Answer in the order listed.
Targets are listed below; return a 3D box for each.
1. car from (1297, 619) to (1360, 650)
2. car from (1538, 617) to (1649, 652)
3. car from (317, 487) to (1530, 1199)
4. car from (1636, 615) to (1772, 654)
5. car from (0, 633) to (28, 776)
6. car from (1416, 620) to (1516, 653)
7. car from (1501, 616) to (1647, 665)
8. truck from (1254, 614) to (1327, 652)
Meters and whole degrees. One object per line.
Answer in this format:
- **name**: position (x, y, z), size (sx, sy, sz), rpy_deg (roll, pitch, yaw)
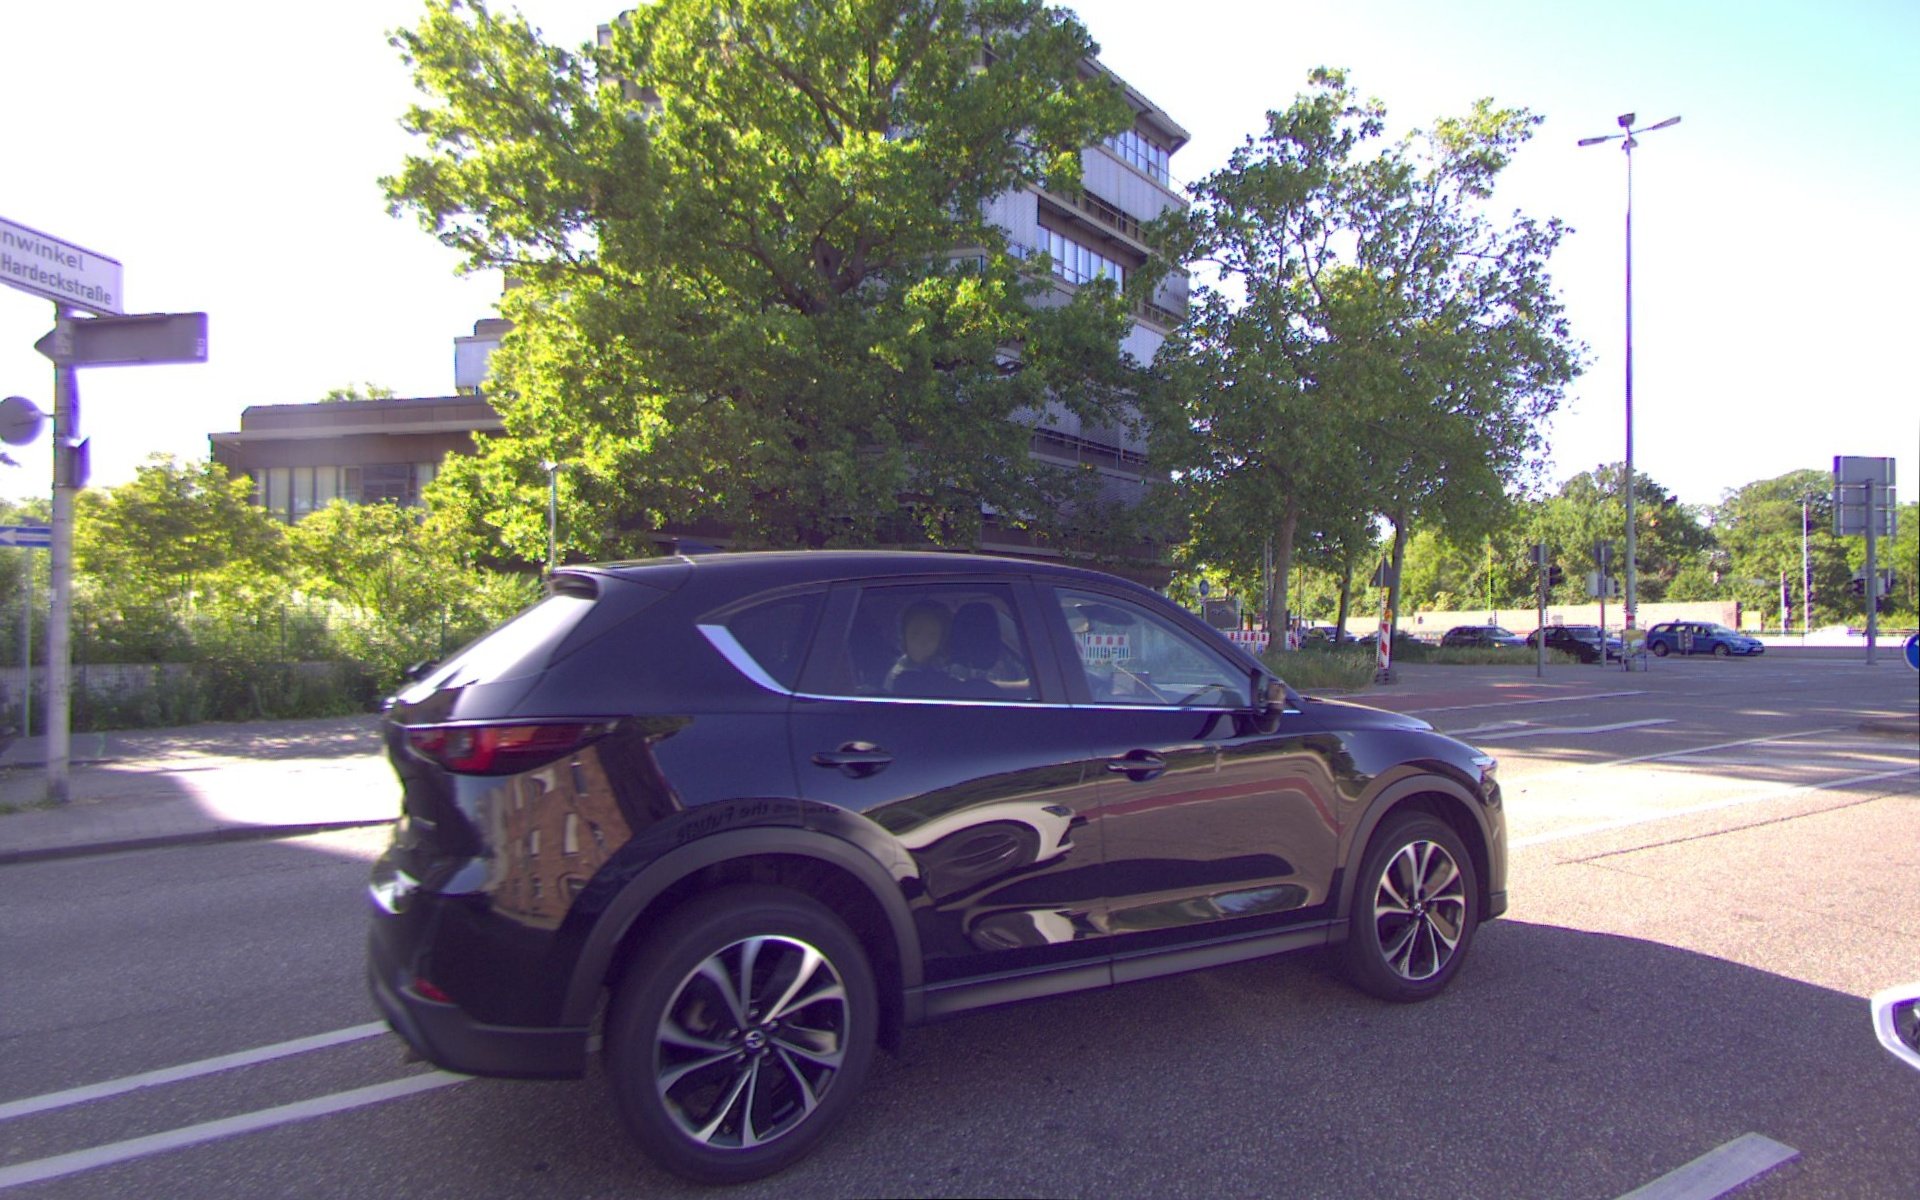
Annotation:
- **car**: position (20.982, 1.943, 57.412), size (1.844, 1.666, 4.508), rpy_deg (0, -1, -2)
- **car**: position (30.395, 1.629, 48.366), size (1.919, 1.561, 4.445), rpy_deg (0, -1, -14)
- **car**: position (0.060, 0.669, 3.875), size (4.146, 1.731, 1.866), rpy_deg (0, -1, -29)
- **car**: position (31.877, 1.457, 43.217), size (1.920, 1.561, 4.442), rpy_deg (0, -1, -17)
- **car**: position (-12.473, 1.184, 10.152), size (4.341, 1.528, 1.642), rpy_deg (-1, -3, -39)
- **car**: position (22.347, 1.568, 44.606), size (1.845, 1.376, 4.506), rpy_deg (0, -1, -6)
- **car**: position (23.350, 1.483, 38.451), size (1.919, 1.643, 4.771), rpy_deg (0, 1, -14)
- **truck**: position (21.851, 2.125, 66.831), size (2.122, 2.391, 7.514), rpy_deg (0, -1, -2)
